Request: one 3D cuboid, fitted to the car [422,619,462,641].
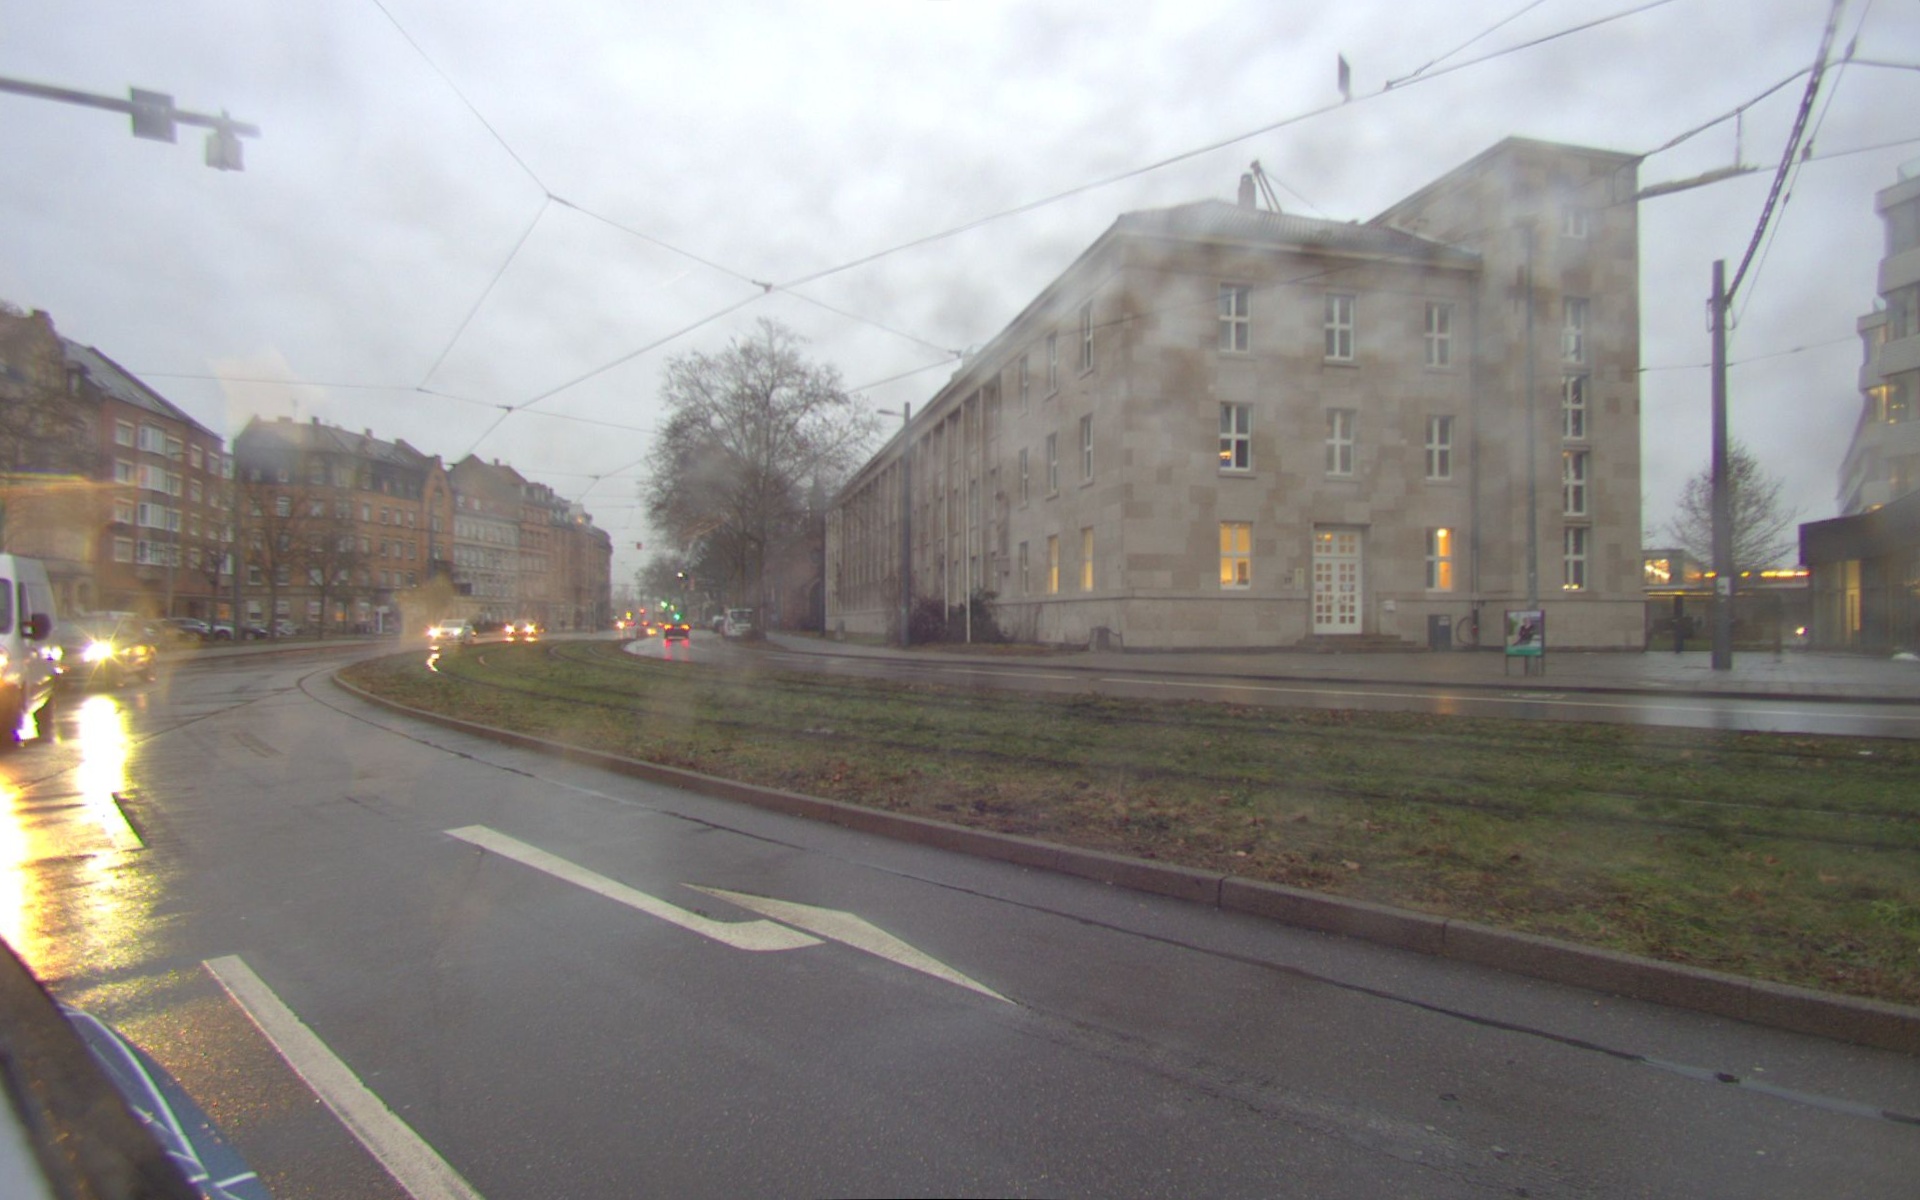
[{"bbox_3d":[-38.843,2.249,75.959,1.695,1.630,3.948,0,-2,-13],"label":"car"}]

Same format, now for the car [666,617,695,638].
[{"bbox_3d":[-21.091,2.069,76.482,1.635,1.411,4.533,-2,0,-10],"label":"car"}]

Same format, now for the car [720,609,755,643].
[{"bbox_3d":[-14.610,1.649,66.279,1.966,2.029,4.522,-2,0,-15],"label":"car"}]

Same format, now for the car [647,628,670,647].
[{"bbox_3d":[-25.793,3.198,86.619,1.796,1.446,4.669,-2,0,-16],"label":"car"}]

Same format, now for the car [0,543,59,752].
[{"bbox_3d":[-13.552,0.612,13.288,2.096,2.398,5.650,0,-1,-37],"label":"car"}]

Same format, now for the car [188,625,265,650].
[{"bbox_3d":[-44.620,2.270,61.616,3.706,1.364,1.605,-2,0,-39],"label":"car"}]

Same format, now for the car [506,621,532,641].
[{"bbox_3d":[-34.421,2.420,79.042,1.809,1.497,3.533,0,-2,-22],"label":"car"}]

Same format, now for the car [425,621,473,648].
[{"bbox_3d":[-28.661,1.927,56.892,1.865,1.424,3.959,0,-2,-19],"label":"car"}]

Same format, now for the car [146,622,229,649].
[{"bbox_3d":[-43.898,1.996,57.543,3.706,1.364,1.605,-2,0,-39],"label":"car"}]

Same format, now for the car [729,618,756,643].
[{"bbox_3d":[-13.335,1.850,61.883,1.535,1.439,2.963,0,0,-14],"label":"car"}]

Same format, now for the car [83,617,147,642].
[{"bbox_3d":[-53.323,1.844,63.951,1.449,1.555,3.881,0,-2,-12],"label":"car"}]
